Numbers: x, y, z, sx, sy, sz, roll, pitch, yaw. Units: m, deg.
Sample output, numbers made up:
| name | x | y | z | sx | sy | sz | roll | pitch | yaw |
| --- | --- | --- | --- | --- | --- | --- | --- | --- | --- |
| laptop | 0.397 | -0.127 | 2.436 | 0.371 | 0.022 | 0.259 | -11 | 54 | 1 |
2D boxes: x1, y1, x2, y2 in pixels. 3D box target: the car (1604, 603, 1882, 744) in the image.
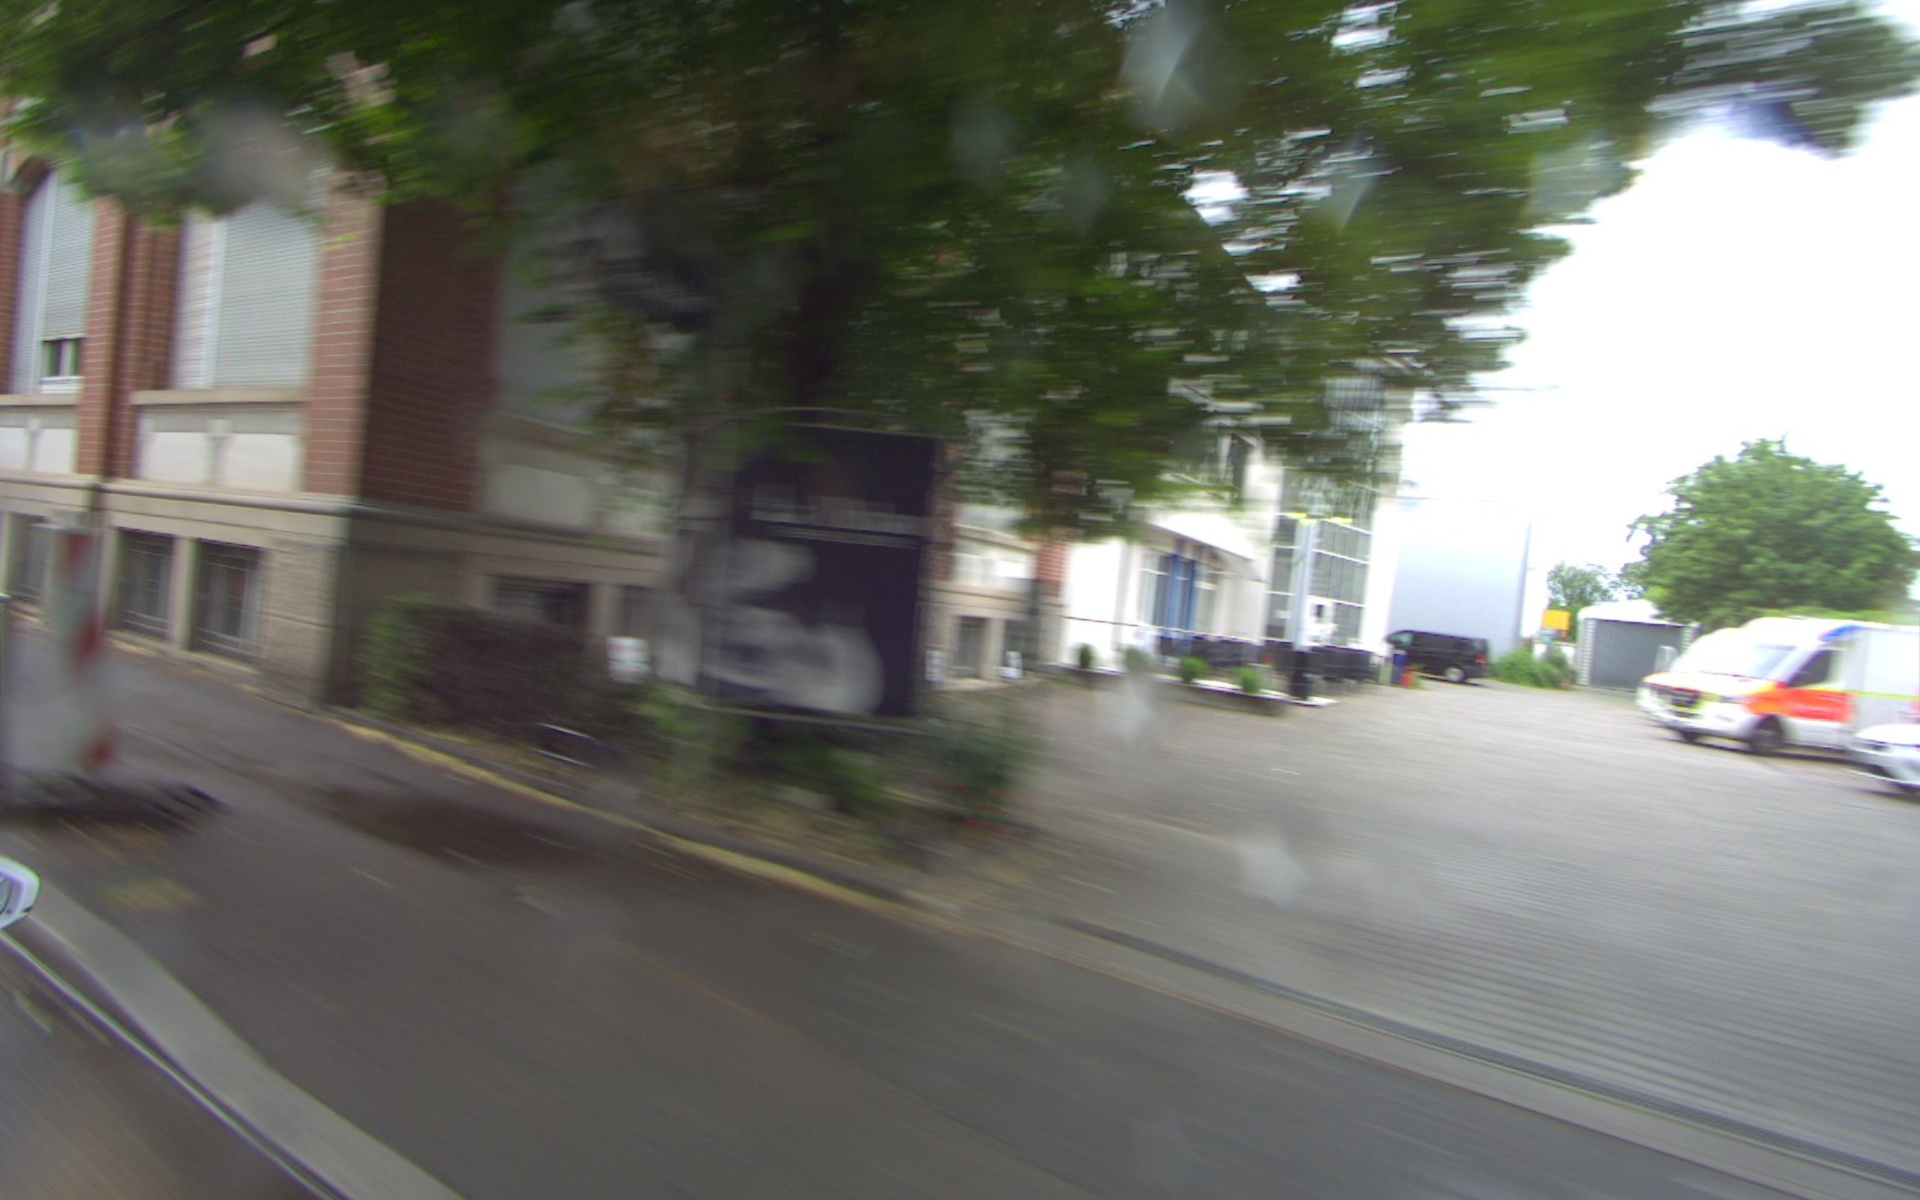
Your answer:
| name | x | y | z | sx | sy | sz | roll | pitch | yaw |
| --- | --- | --- | --- | --- | --- | --- | --- | --- | --- |
| car | 22.407 | 2.080 | 28.969 | 6.084 | 3.160 | 2.140 | 7 | -1 | 0 |

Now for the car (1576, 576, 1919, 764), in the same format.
| name | x | y | z | sx | sy | sz | roll | pitch | yaw |
| --- | --- | --- | --- | --- | --- | --- | --- | --- | --- |
| car | 17.207 | 1.509 | 21.843 | 6.084 | 3.160 | 2.140 | 7 | -1 | 0 |

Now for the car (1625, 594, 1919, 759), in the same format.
| name | x | y | z | sx | sy | sz | roll | pitch | yaw |
| --- | --- | --- | --- | --- | --- | --- | --- | --- | --- |
| car | 20.107 | 1.854 | 24.550 | 6.084 | 3.160 | 2.140 | 7 | -1 | 0 |

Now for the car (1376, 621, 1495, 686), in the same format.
| name | x | y | z | sx | sy | sz | roll | pitch | yaw |
| --- | --- | --- | --- | --- | --- | --- | --- | --- | --- |
| car | 18.942 | 2.127 | 40.089 | 3.934 | 2.037 | 1.997 | 6 | -2 | 32 |

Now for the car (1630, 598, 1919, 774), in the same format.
| name | x | y | z | sx | sy | sz | roll | pitch | yaw |
| --- | --- | --- | --- | --- | --- | --- | --- | --- | --- |
| car | 16.829 | 1.752 | 19.449 | 6.084 | 2.732 | 2.140 | 7 | -1 | 0 |

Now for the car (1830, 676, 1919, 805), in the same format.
| name | x | y | z | sx | sy | sz | roll | pitch | yaw |
| --- | --- | --- | --- | --- | --- | --- | --- | --- | --- |
| car | 13.563 | 1.972 | 12.691 | 3.453 | 1.505 | 1.521 | 7 | 1 | 17 |
